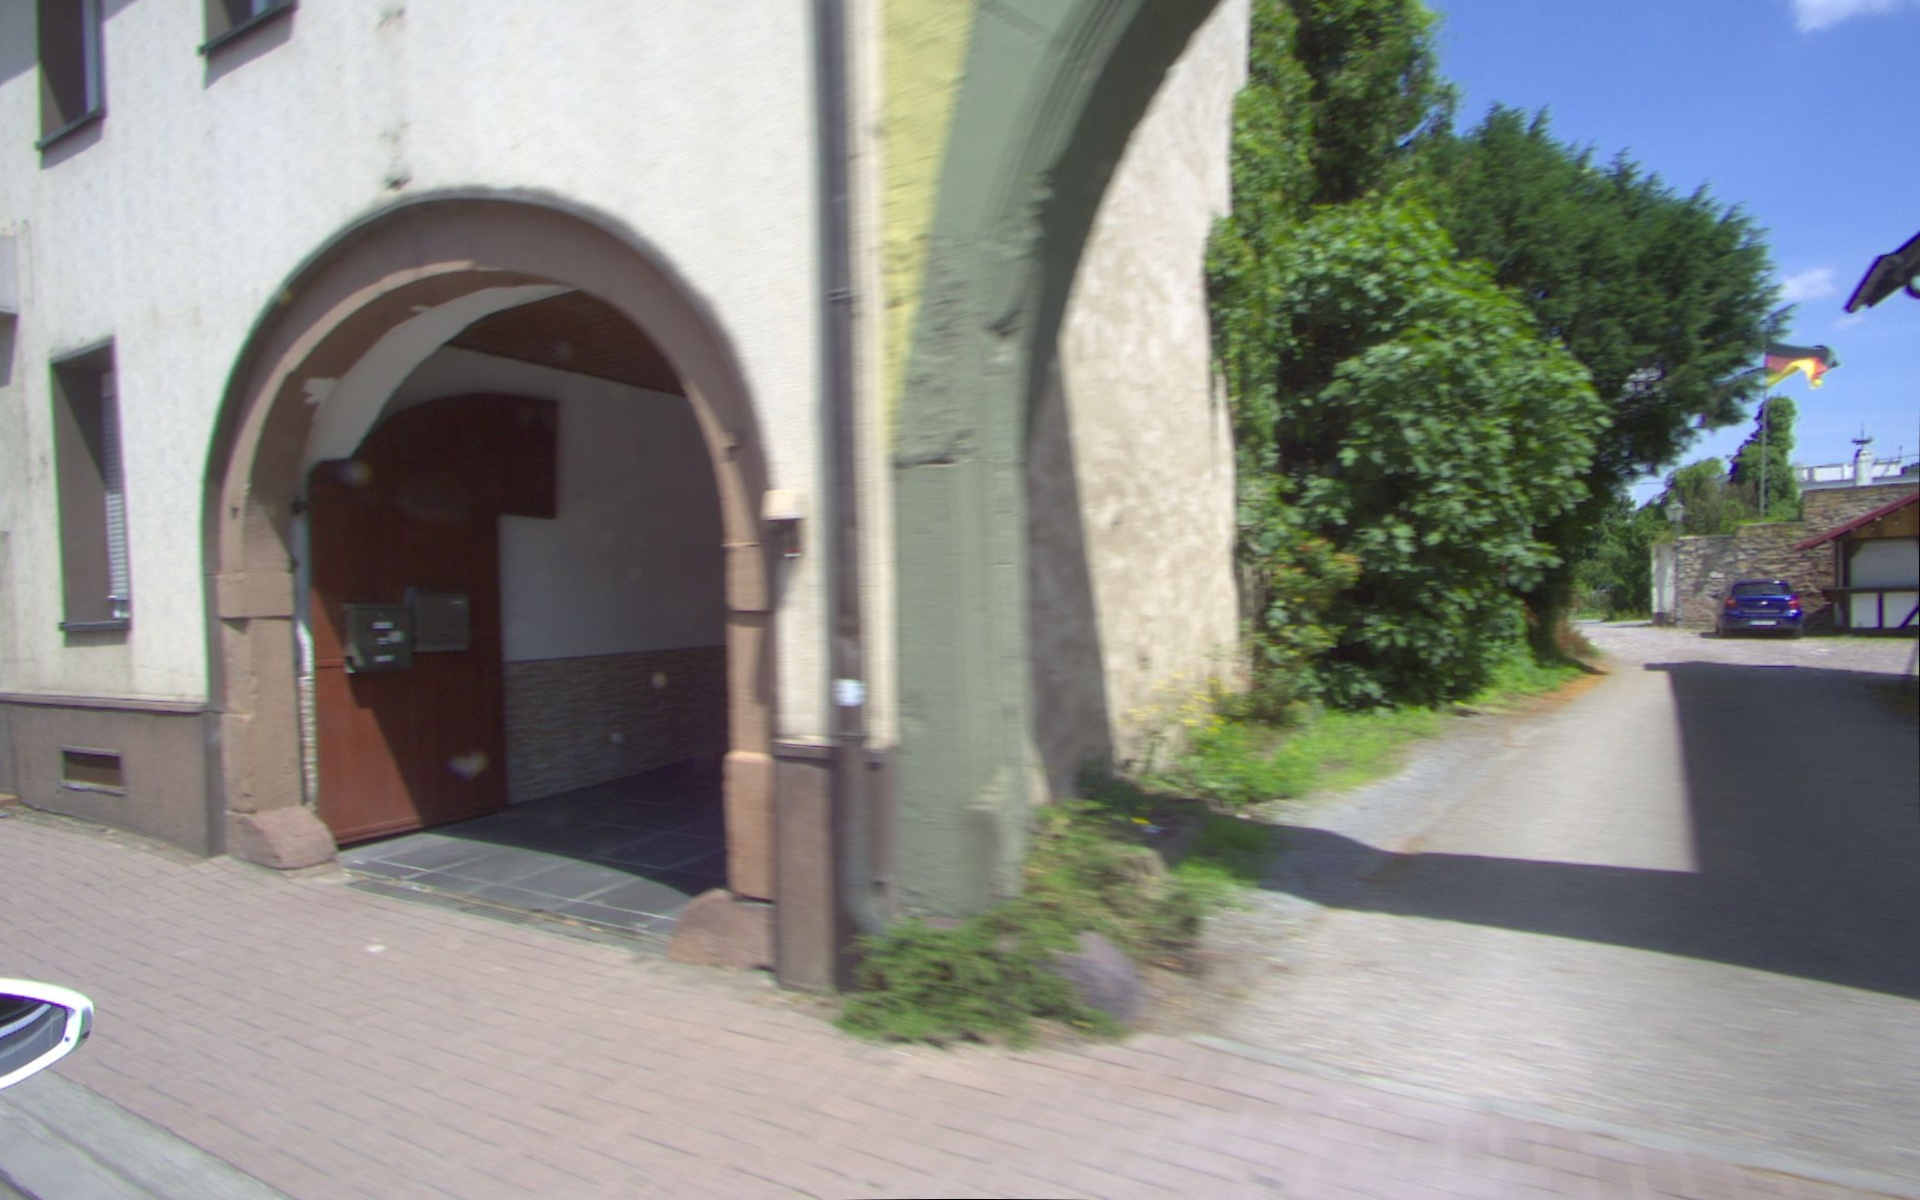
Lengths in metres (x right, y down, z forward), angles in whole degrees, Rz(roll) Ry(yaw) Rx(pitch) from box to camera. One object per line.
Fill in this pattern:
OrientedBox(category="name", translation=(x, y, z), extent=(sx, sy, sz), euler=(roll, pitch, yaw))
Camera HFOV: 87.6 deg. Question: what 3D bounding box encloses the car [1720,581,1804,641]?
OrientedBox(category="car", translation=(21.102, 0.265, 26.436), extent=(1.573, 1.428, 3.633), euler=(-1, 1, 37))
